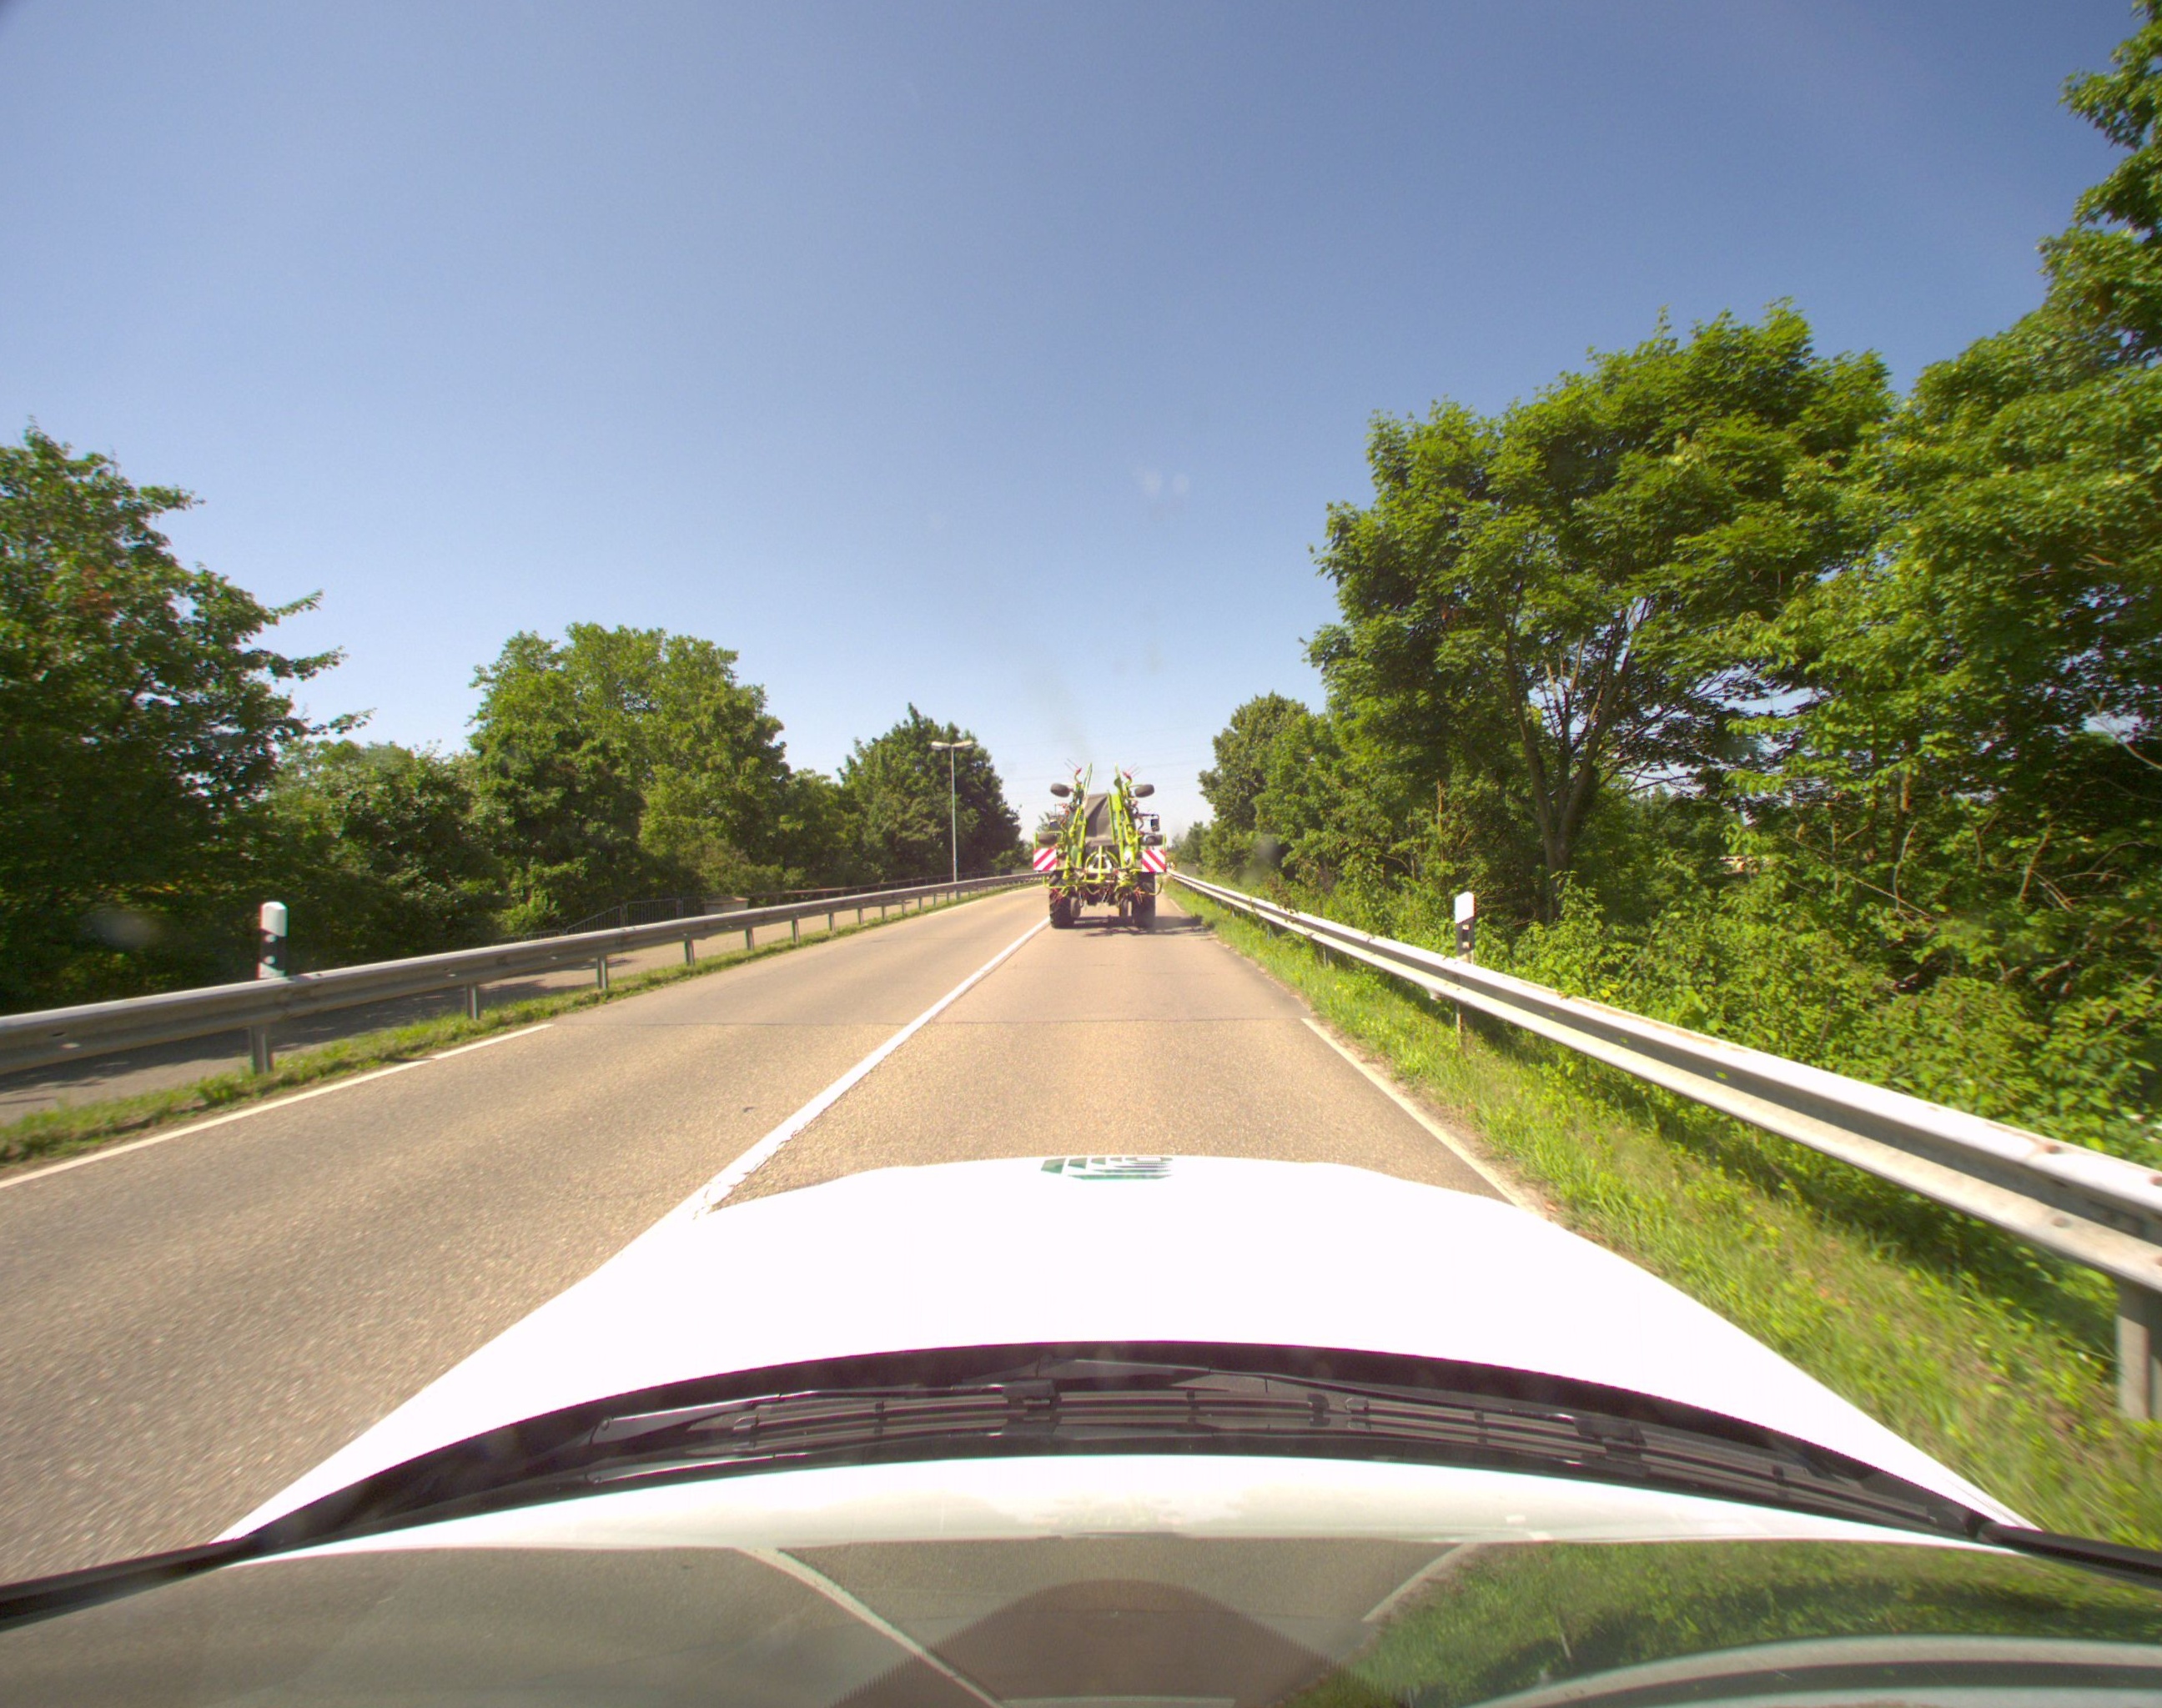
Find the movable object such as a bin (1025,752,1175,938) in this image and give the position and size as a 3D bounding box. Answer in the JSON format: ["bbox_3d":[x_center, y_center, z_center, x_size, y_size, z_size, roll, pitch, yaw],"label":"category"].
[{"bbox_3d":[0.483,-0.155,18.159,2.744,3.444,5.673,-1,0,2],"label":"movable object such as a bin"}]
